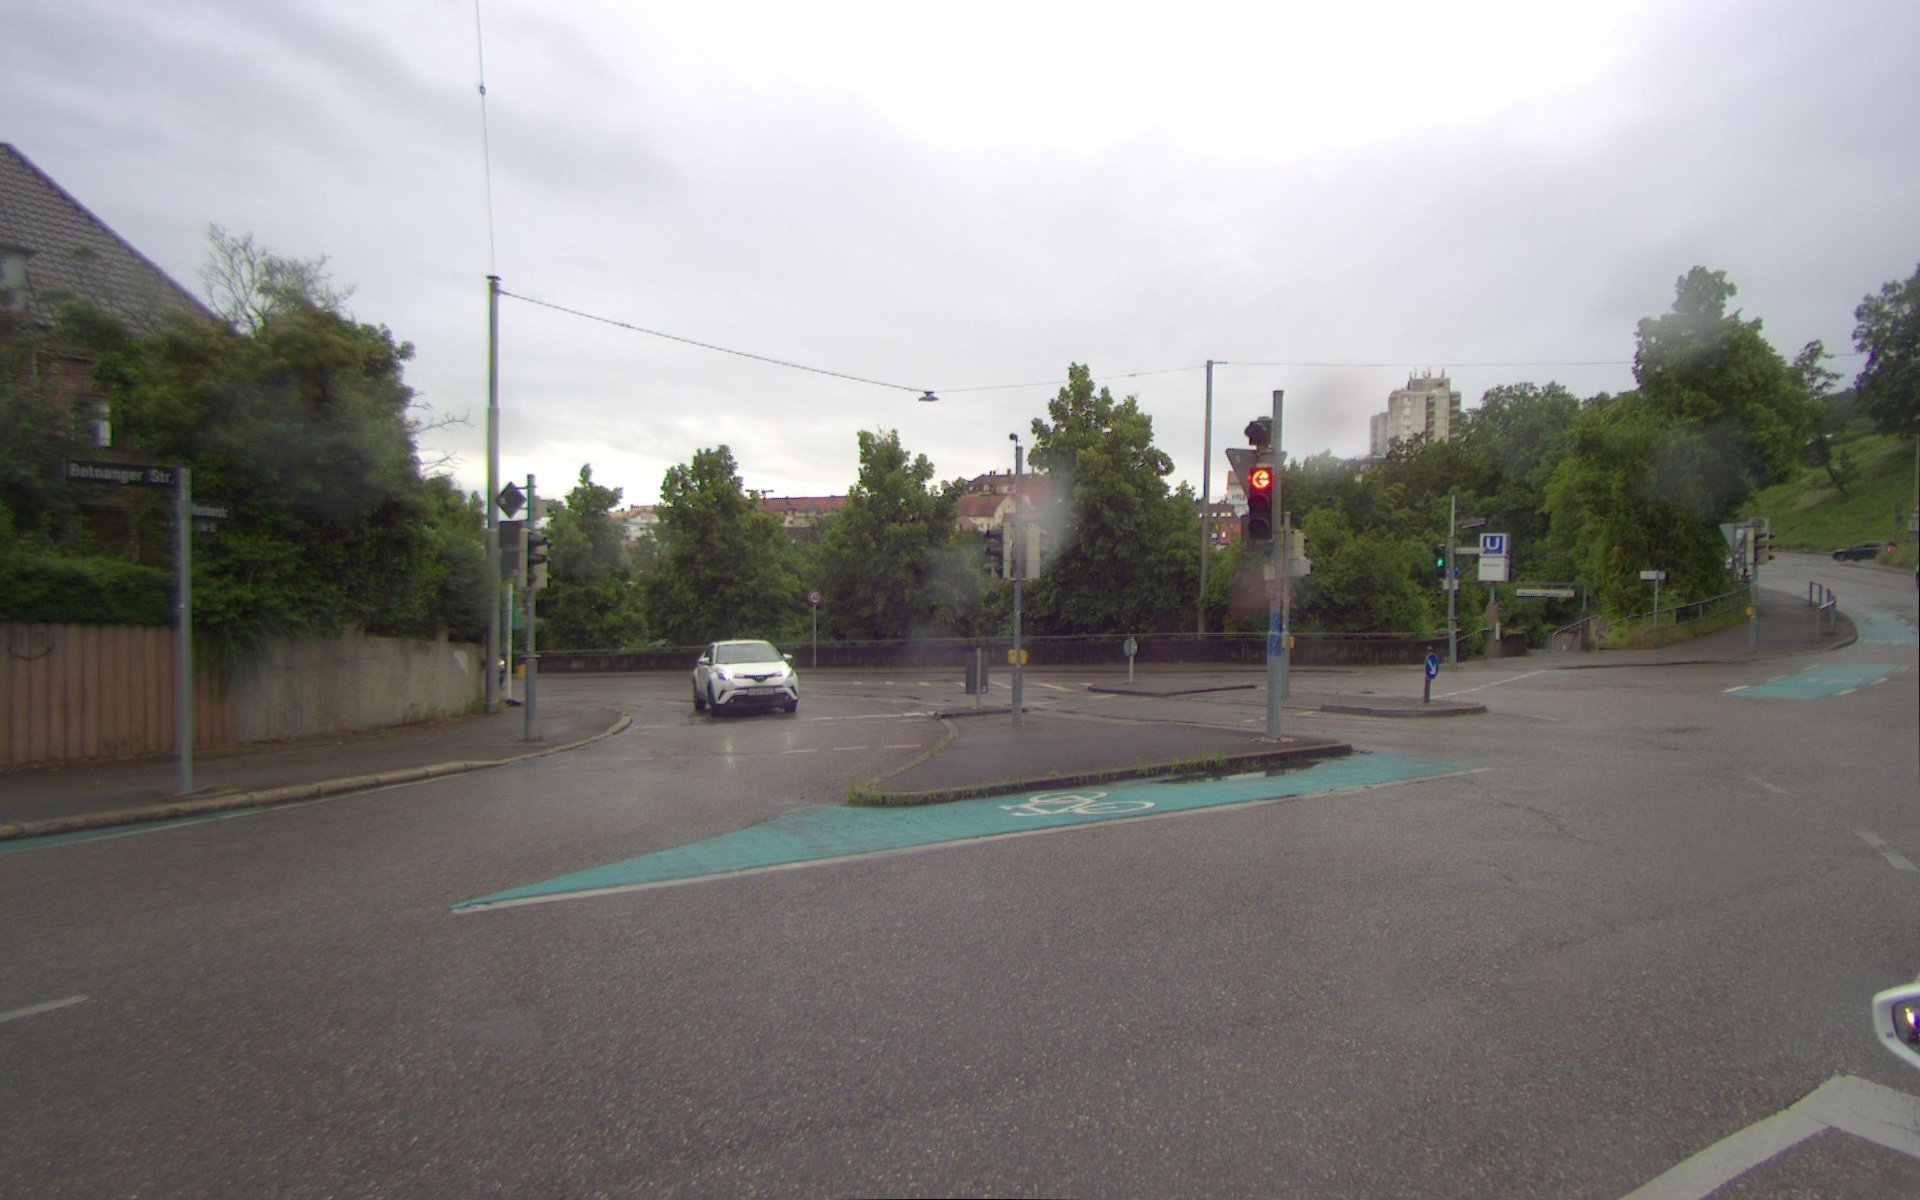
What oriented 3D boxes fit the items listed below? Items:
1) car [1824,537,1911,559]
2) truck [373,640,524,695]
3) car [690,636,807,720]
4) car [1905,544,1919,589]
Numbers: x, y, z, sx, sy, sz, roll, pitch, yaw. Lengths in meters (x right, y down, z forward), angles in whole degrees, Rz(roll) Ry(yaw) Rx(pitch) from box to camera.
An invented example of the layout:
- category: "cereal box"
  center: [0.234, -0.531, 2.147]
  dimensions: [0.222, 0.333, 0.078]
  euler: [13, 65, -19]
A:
- category: "car"
  center: [66.735, -3.837, 73.969]
  dimensions: [1.930, 1.532, 4.389]
  euler: [-1, 2, -16]
- category: "truck"
  center: [-19.849, 2.597, 39.075]
  dimensions: [4.890, 1.809, 1.910]
  euler: [-3, -2, 3]
- category: "car"
  center: [-4.629, 1.637, 21.600]
  dimensions: [1.810, 1.527, 3.866]
  euler: [-2, -2, -21]
- category: "car"
  center: [45.034, -1.550, 45.545]
  dimensions: [2.035, 2.033, 4.806]
  euler: [1, 1, 29]
